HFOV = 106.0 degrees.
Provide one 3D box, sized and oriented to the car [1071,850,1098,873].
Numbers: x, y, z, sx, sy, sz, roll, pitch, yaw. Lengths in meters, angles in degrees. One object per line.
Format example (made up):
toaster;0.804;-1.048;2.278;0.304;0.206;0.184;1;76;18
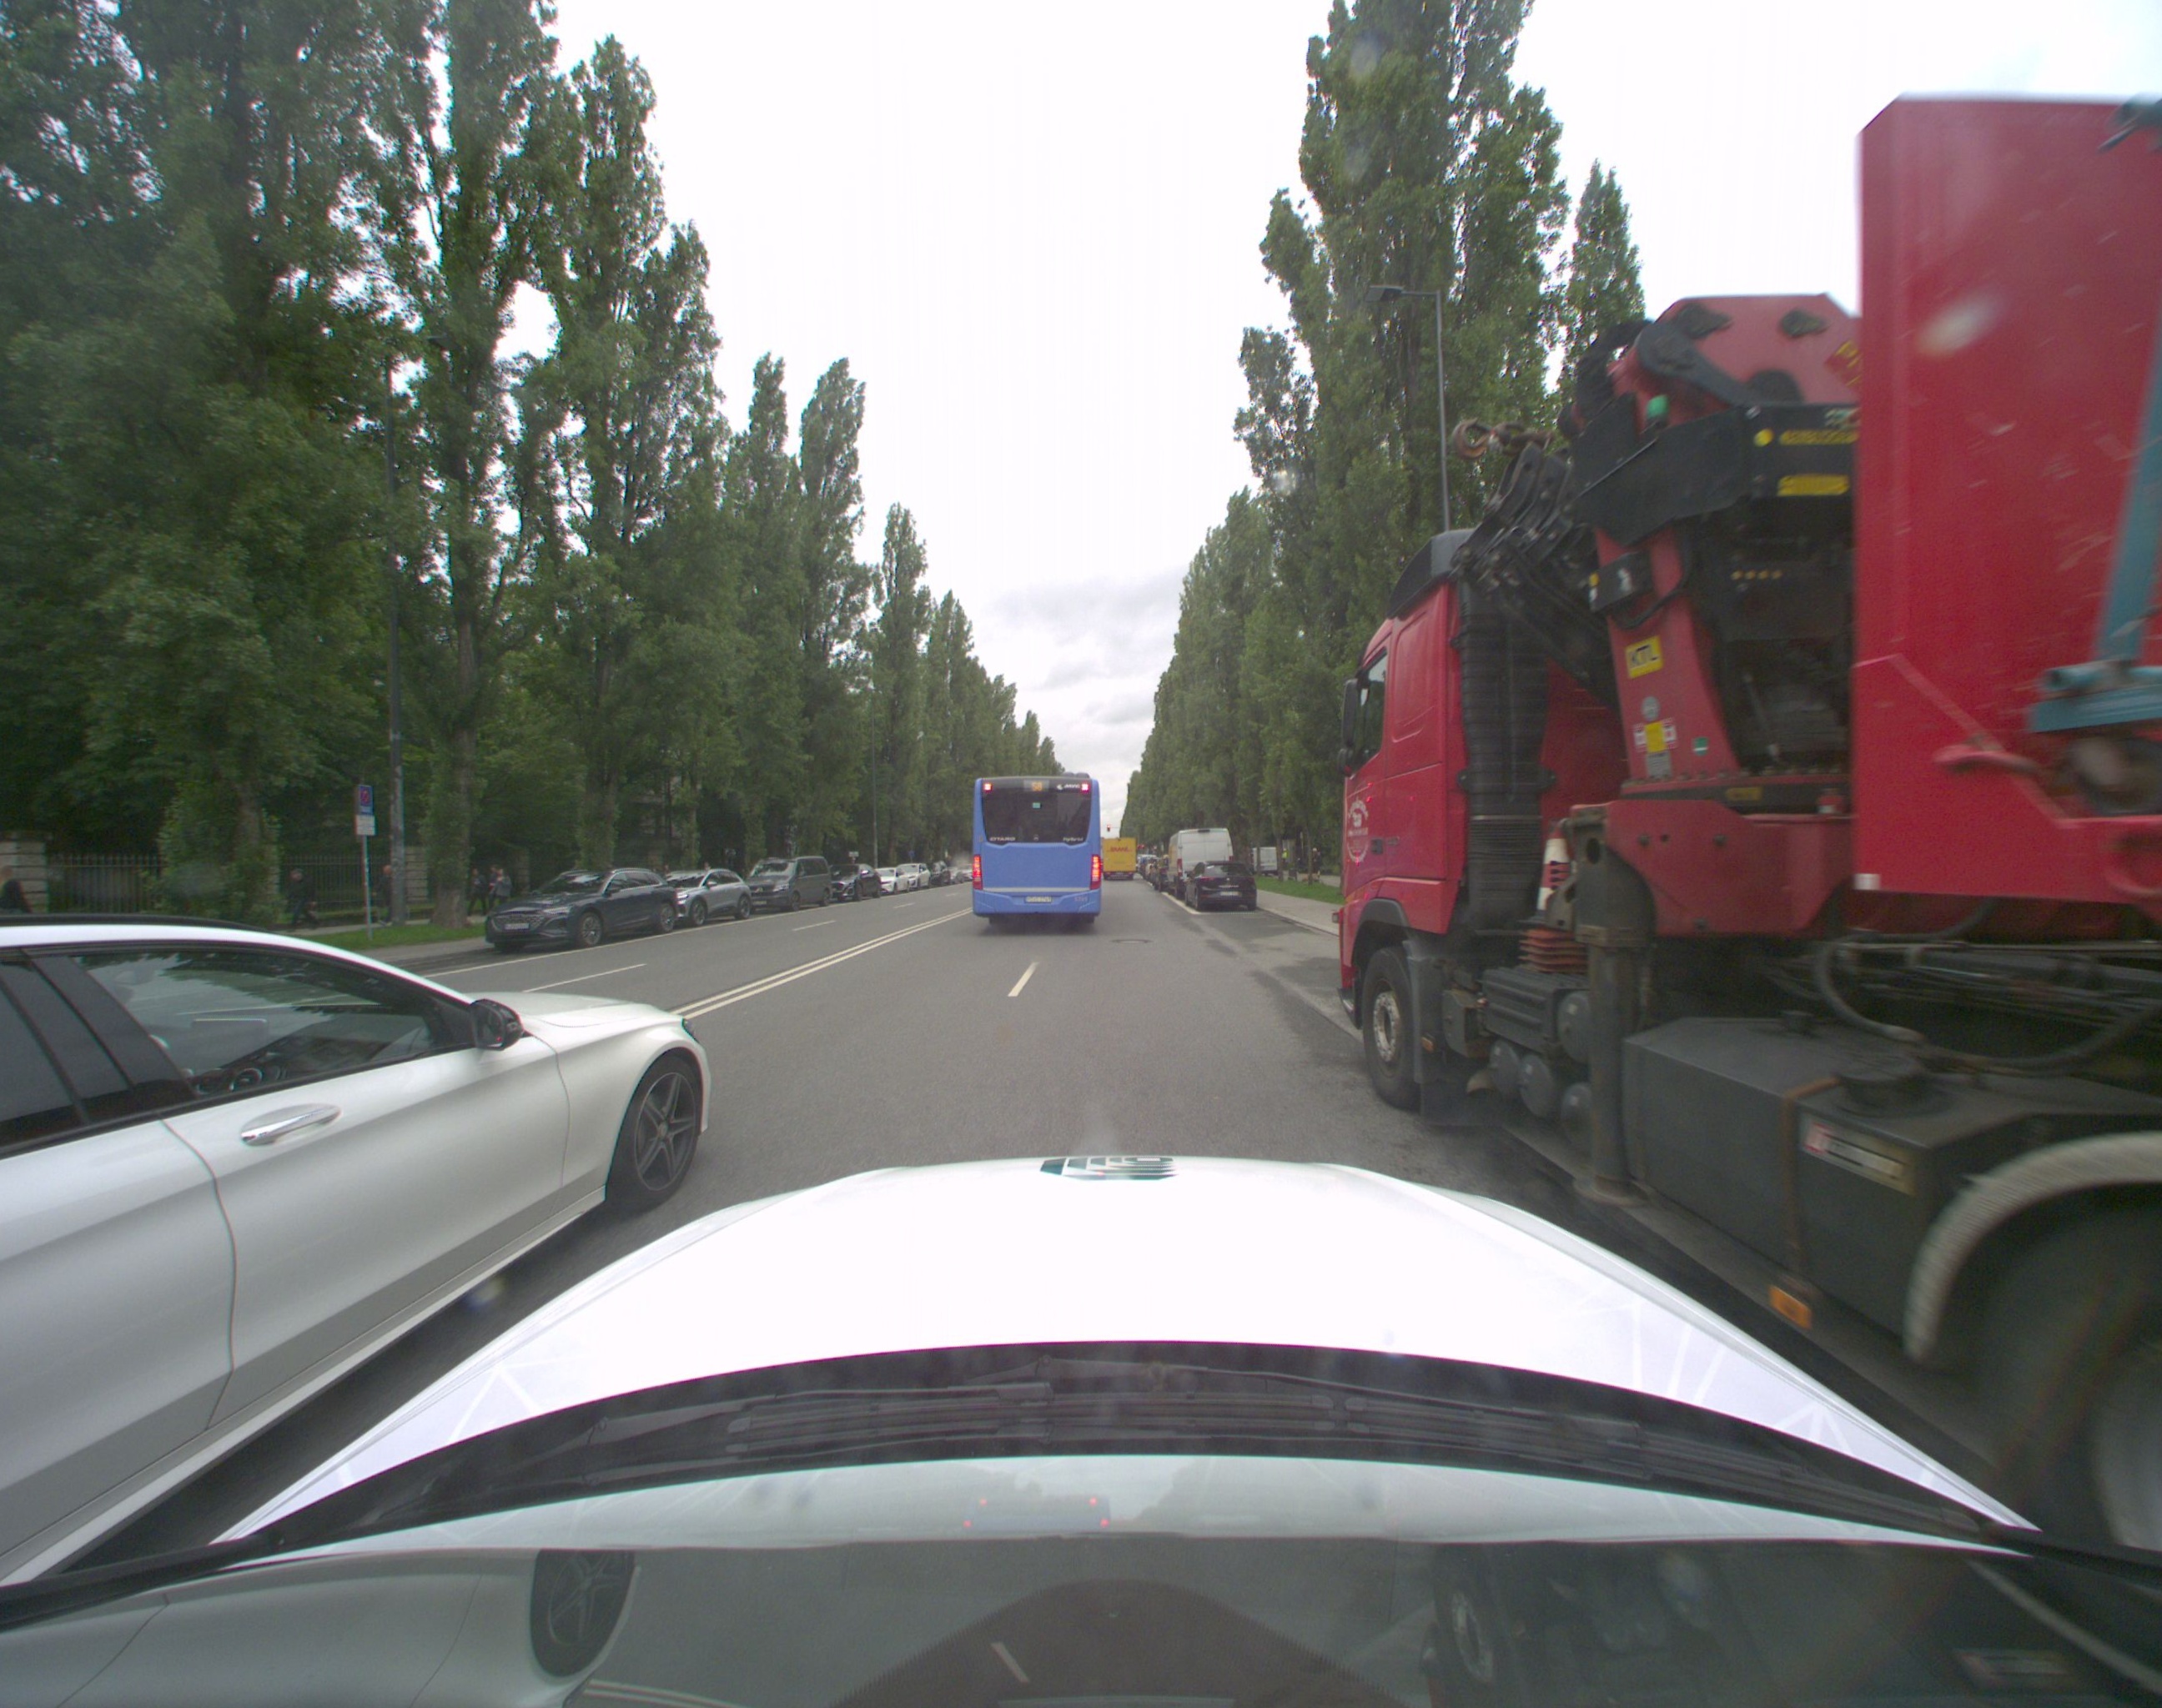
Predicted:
car;0.303;0.610;68.081;2.027;1.801;4.510;-2;0;3

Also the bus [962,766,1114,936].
bus;-0.829;-0.057;20.123;2.847;3.213;9.057;-1;0;0

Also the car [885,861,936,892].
car;-10.108;1.300;48.572;1.778;1.588;4.464;-4;0;3

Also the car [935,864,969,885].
car;-9.481;1.486;60.067;1.574;1.304;4.031;-3;0;3

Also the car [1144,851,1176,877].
car;5.095;0.632;52.879;1.774;1.582;4.148;1;0;2

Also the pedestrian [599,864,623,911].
pedestrian;-19.115;1.360;33.120;0.506;1.859;0.723;-1;0;3

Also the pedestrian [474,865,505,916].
pedestrian;-20.281;1.252;27.936;0.506;1.707;0.723;-1;0;3

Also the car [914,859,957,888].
car;-9.673;1.256;54.537;1.873;1.658;4.719;-4;0;1

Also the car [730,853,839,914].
car;-10.825;1.004;30.154;1.986;1.956;4.939;-3;0;2

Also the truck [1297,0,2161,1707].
truck;2.962;-0.147;1.497;2.703;3.110;10.433;-2;0;2

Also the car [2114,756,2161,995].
car;9.694;0.171;4.484;1.874;1.945;4.885;0;0;1

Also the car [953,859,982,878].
car;-9.532;1.194;68.658;1.679;1.413;4.005;-3;0;1

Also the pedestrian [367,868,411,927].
pedestrian;-19.879;1.246;23.397;0.616;1.660;0.705;-1;0;3

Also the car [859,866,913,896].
car;-10.238;1.383;43.045;1.670;1.422;4.239;-3;-1;2

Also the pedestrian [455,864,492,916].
pedestrian;-20.814;1.220;27.931;0.664;1.722;0.734;-1;0;3

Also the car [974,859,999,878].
car;-9.046;1.368;78.067;1.808;1.643;4.001;-2;0;2

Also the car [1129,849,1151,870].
car;5.986;0.527;83.451;2.044;2.013;5.696;-2;0;3

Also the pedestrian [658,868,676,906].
pedestrian;-18.779;1.497;36.946;0.506;1.707;0.570;-1;0;3

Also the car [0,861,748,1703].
car;-2.767;0.758;2.050;1.818;1.454;4.585;-1;0;2

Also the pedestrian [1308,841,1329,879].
pedestrian;11.540;0.297;39.555;0.654;1.839;0.782;-2;-1;-12

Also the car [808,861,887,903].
car;-10.331;1.194;36.484;1.808;1.609;5.055;-4;0;2

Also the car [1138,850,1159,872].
car;6.215;0.656;75.172;1.799;1.976;4.239;-1;0;3

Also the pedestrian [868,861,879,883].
pedestrian;-17.399;1.482;68.167;0.637;1.815;0.776;-1;-1;2

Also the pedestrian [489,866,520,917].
pedestrian;-19.645;1.266;27.744;0.547;1.669;0.674;-1;0;3

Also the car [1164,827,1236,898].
car;4.510;0.297;31.825;2.066;2.479;6.286;0;0;2

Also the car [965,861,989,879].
car;-9.311;1.412;73.193;1.739;1.519;4.113;-3;0;-3

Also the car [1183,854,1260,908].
car;4.128;0.749;24.470;1.748;1.450;4.002;1;0;2

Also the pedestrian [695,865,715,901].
pedestrian;-18.666;1.433;40.414;0.606;1.757;0.757;-2;-1;1

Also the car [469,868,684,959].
car;-11.097;1.215;18.404;1.775;1.596;4.616;-3;0;2

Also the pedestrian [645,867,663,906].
pedestrian;-19.351;1.464;36.923;0.506;1.707;0.570;-1;0;3

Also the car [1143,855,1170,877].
car;5.408;0.849;58.543;1.718;1.495;4.327;-1;0;3

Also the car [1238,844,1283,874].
car;12.258;0.359;55.840;1.986;1.925;5.325;-1;0;1

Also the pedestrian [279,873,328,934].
pedestrian;-20.863;1.314;21.861;0.615;1.596;0.705;-1;0;3

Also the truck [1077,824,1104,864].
truck;0.986;-1.042;87.110;2.707;3.965;9.216;-2;0;0

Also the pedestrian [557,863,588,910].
pedestrian;-20.581;1.304;32.994;0.744;1.854;0.758;-1;0;3

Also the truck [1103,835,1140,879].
truck;2.792;0.218;57.564;2.319;2.898;7.335;-1;0;2

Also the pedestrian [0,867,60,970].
pedestrian;-18.481;1.095;14.104;0.580;1.720;0.787;-1;0;1

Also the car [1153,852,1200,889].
car;4.376;0.721;37.758;1.814;1.590;4.224;-1;0;2

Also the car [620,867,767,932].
car;-11.193;1.252;23.949;1.883;1.584;4.656;-3;0;2
